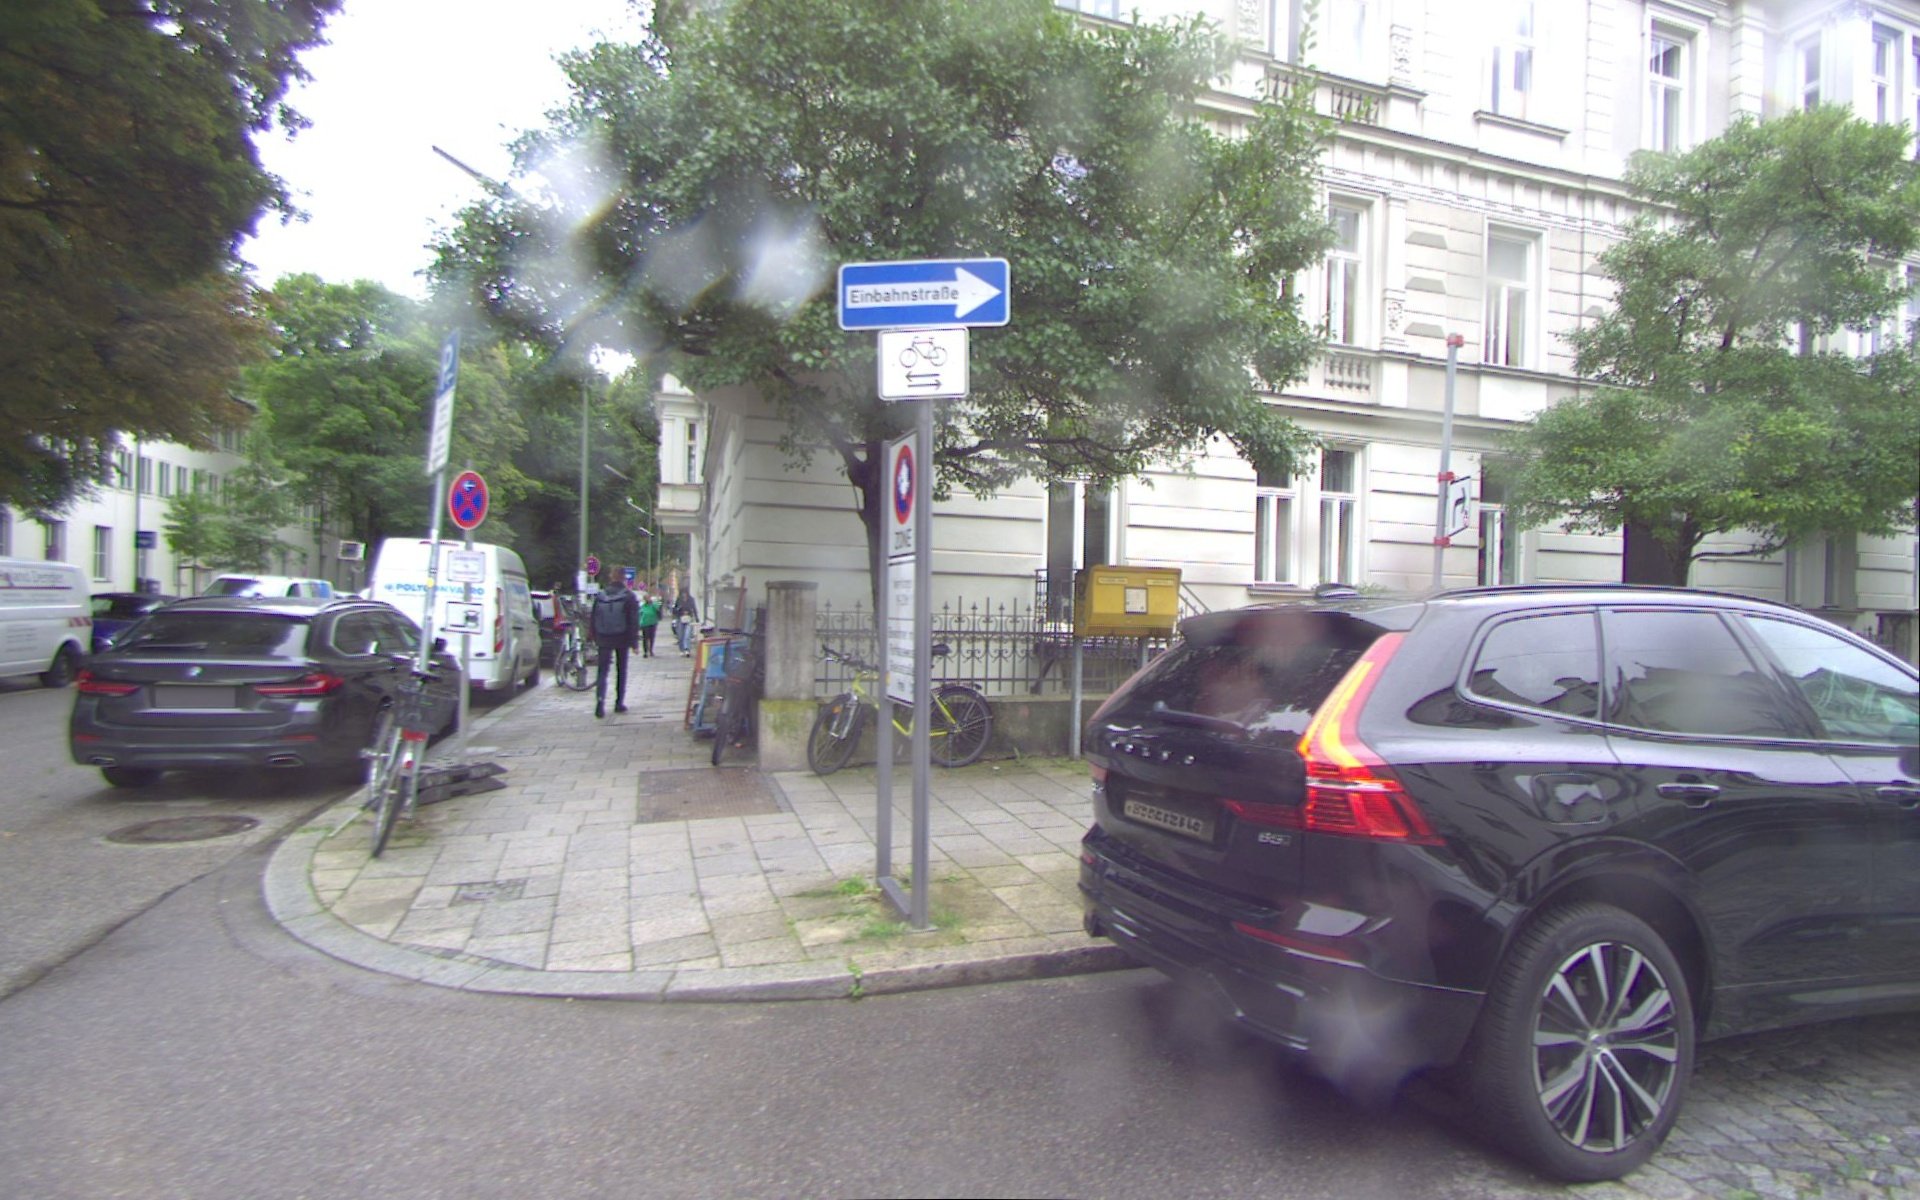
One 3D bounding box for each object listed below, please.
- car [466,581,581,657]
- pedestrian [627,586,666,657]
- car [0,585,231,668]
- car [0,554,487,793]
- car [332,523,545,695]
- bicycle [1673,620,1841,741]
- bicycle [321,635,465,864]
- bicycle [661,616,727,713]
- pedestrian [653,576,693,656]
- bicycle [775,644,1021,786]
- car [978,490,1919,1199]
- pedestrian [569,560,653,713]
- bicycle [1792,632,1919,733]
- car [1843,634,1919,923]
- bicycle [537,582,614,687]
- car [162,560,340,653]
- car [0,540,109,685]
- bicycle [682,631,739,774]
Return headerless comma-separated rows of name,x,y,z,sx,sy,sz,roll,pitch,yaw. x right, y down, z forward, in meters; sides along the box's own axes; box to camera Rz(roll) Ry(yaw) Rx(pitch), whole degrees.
car,-10.376,0.423,24.172,2.111,1.651,4.298,0,0,-18
pedestrian,-7.668,0.527,24.619,0.847,1.710,0.774,1,0,-16
car,-16.020,0.470,19.249,2.186,1.347,3.931,3,-1,-19
car,-5.958,0.498,9.052,2.242,1.567,4.573,0,0,-14
car,-7.874,0.131,15.720,2.176,2.238,4.836,0,0,-18
bicycle,8.968,0.894,11.291,1.949,1.265,0.500,2,1,-20
bicycle,-3.535,0.797,6.199,0.648,1.042,2.182,1,1,-32
bicycle,-3.236,0.750,12.326,0.538,1.074,1.748,1,0,-7
pedestrian,-6.857,0.385,24.018,0.847,1.859,0.665,1,0,-16
bicycle,-0.506,0.902,8.089,1.896,1.042,0.555,1,1,-14
car,2.733,0.725,3.988,4.976,1.673,1.936,2,-4,-20
pedestrian,-4.070,0.413,11.799,0.846,1.712,0.972,0,0,-15
bicycle,10.833,0.984,12.068,1.859,1.148,0.362,2,1,-20
car,7.636,0.971,5.730,5.102,1.524,1.802,1,-2,-22
bicycle,-6.057,0.498,15.765,0.702,1.535,2.020,1,0,-33
car,-17.318,0.151,24.895,2.157,1.982,5.144,3,-1,-19
car,-14.245,0.112,13.621,2.220,1.982,5.430,3,-1,-19
bicycle,-2.231,0.848,8.931,0.424,1.042,1.884,1,1,-15
